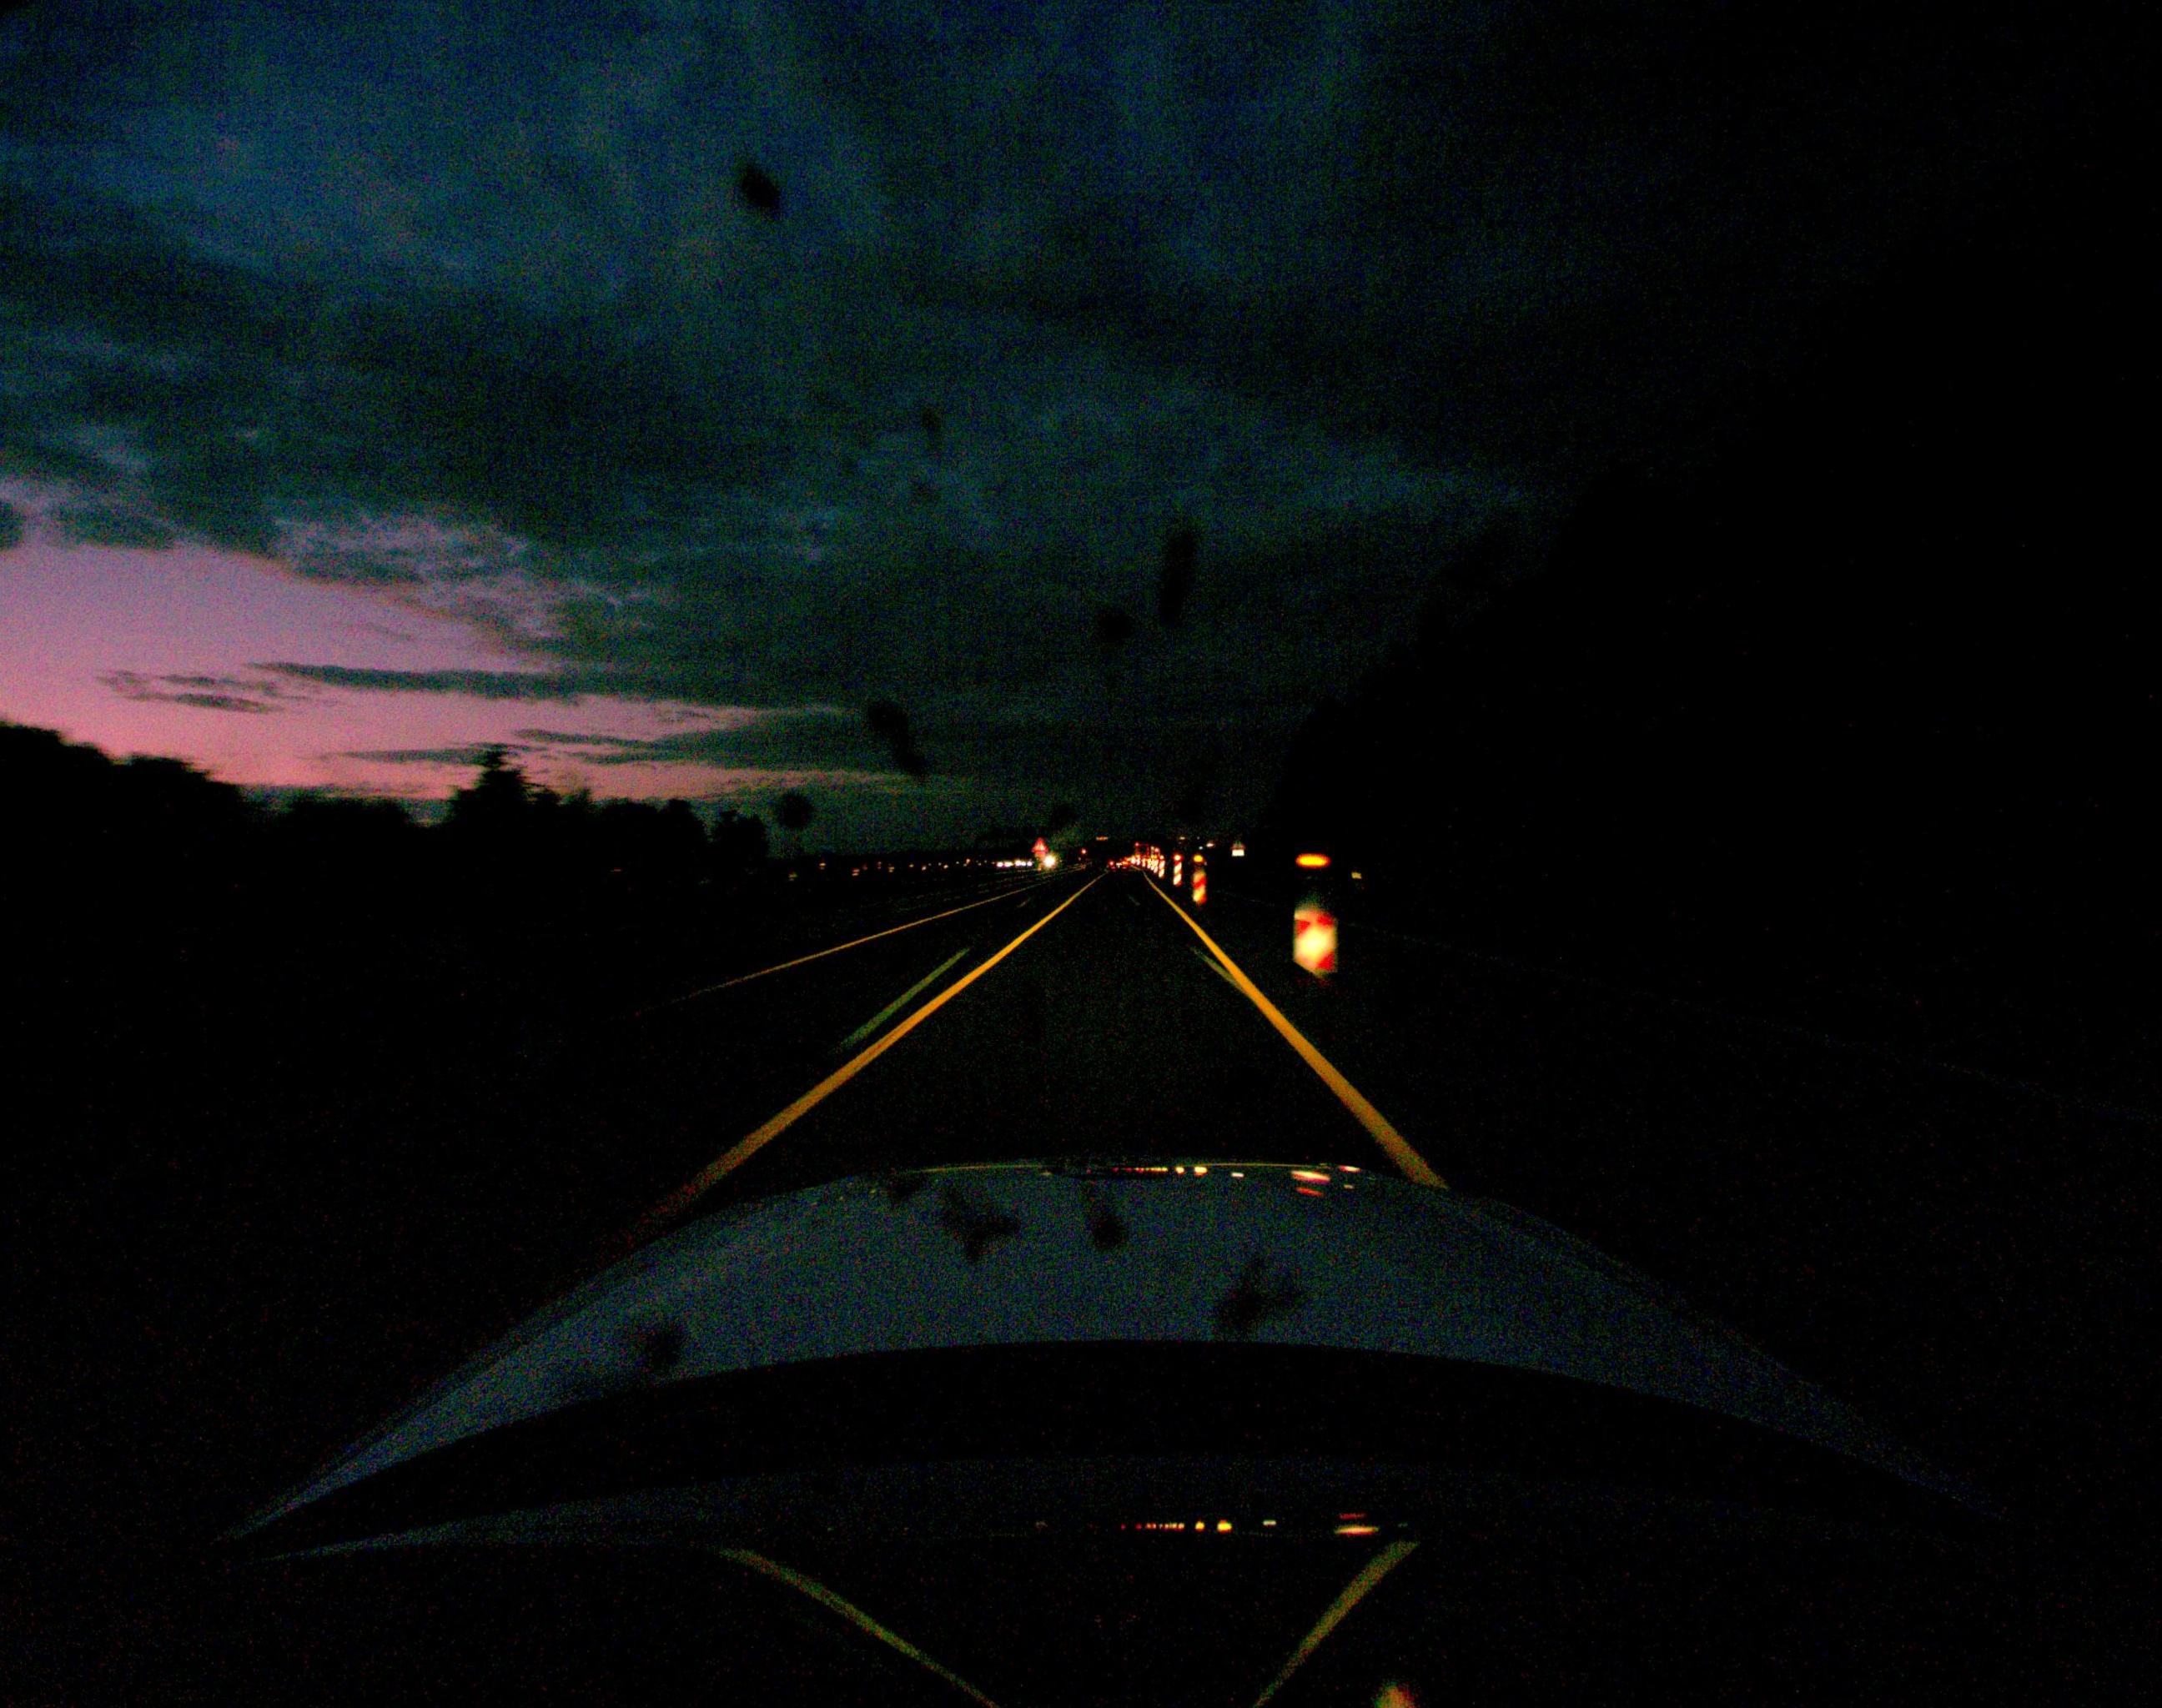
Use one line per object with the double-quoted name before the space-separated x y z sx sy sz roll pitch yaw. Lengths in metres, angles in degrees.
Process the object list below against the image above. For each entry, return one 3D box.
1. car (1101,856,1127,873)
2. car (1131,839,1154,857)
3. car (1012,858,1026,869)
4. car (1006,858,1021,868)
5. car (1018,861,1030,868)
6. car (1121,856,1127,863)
"car" 3.181 0.975 79.301 2.259 1.621 3.997 0 0 -2
"car" 12.525 -1.186 167.205 3.598 3.396 8.002 0 0 -4
"car" -10.844 1.679 143.737 1.985 1.828 4.002 0 0 2
"car" -11.292 1.542 136.676 1.985 1.714 4.002 0 0 2
"car" -11.343 2.036 162.540 1.756 1.464 4.693 0 0 3
"car" 13.408 1.677 254.922 1.986 2.014 4.002 0 0 2
